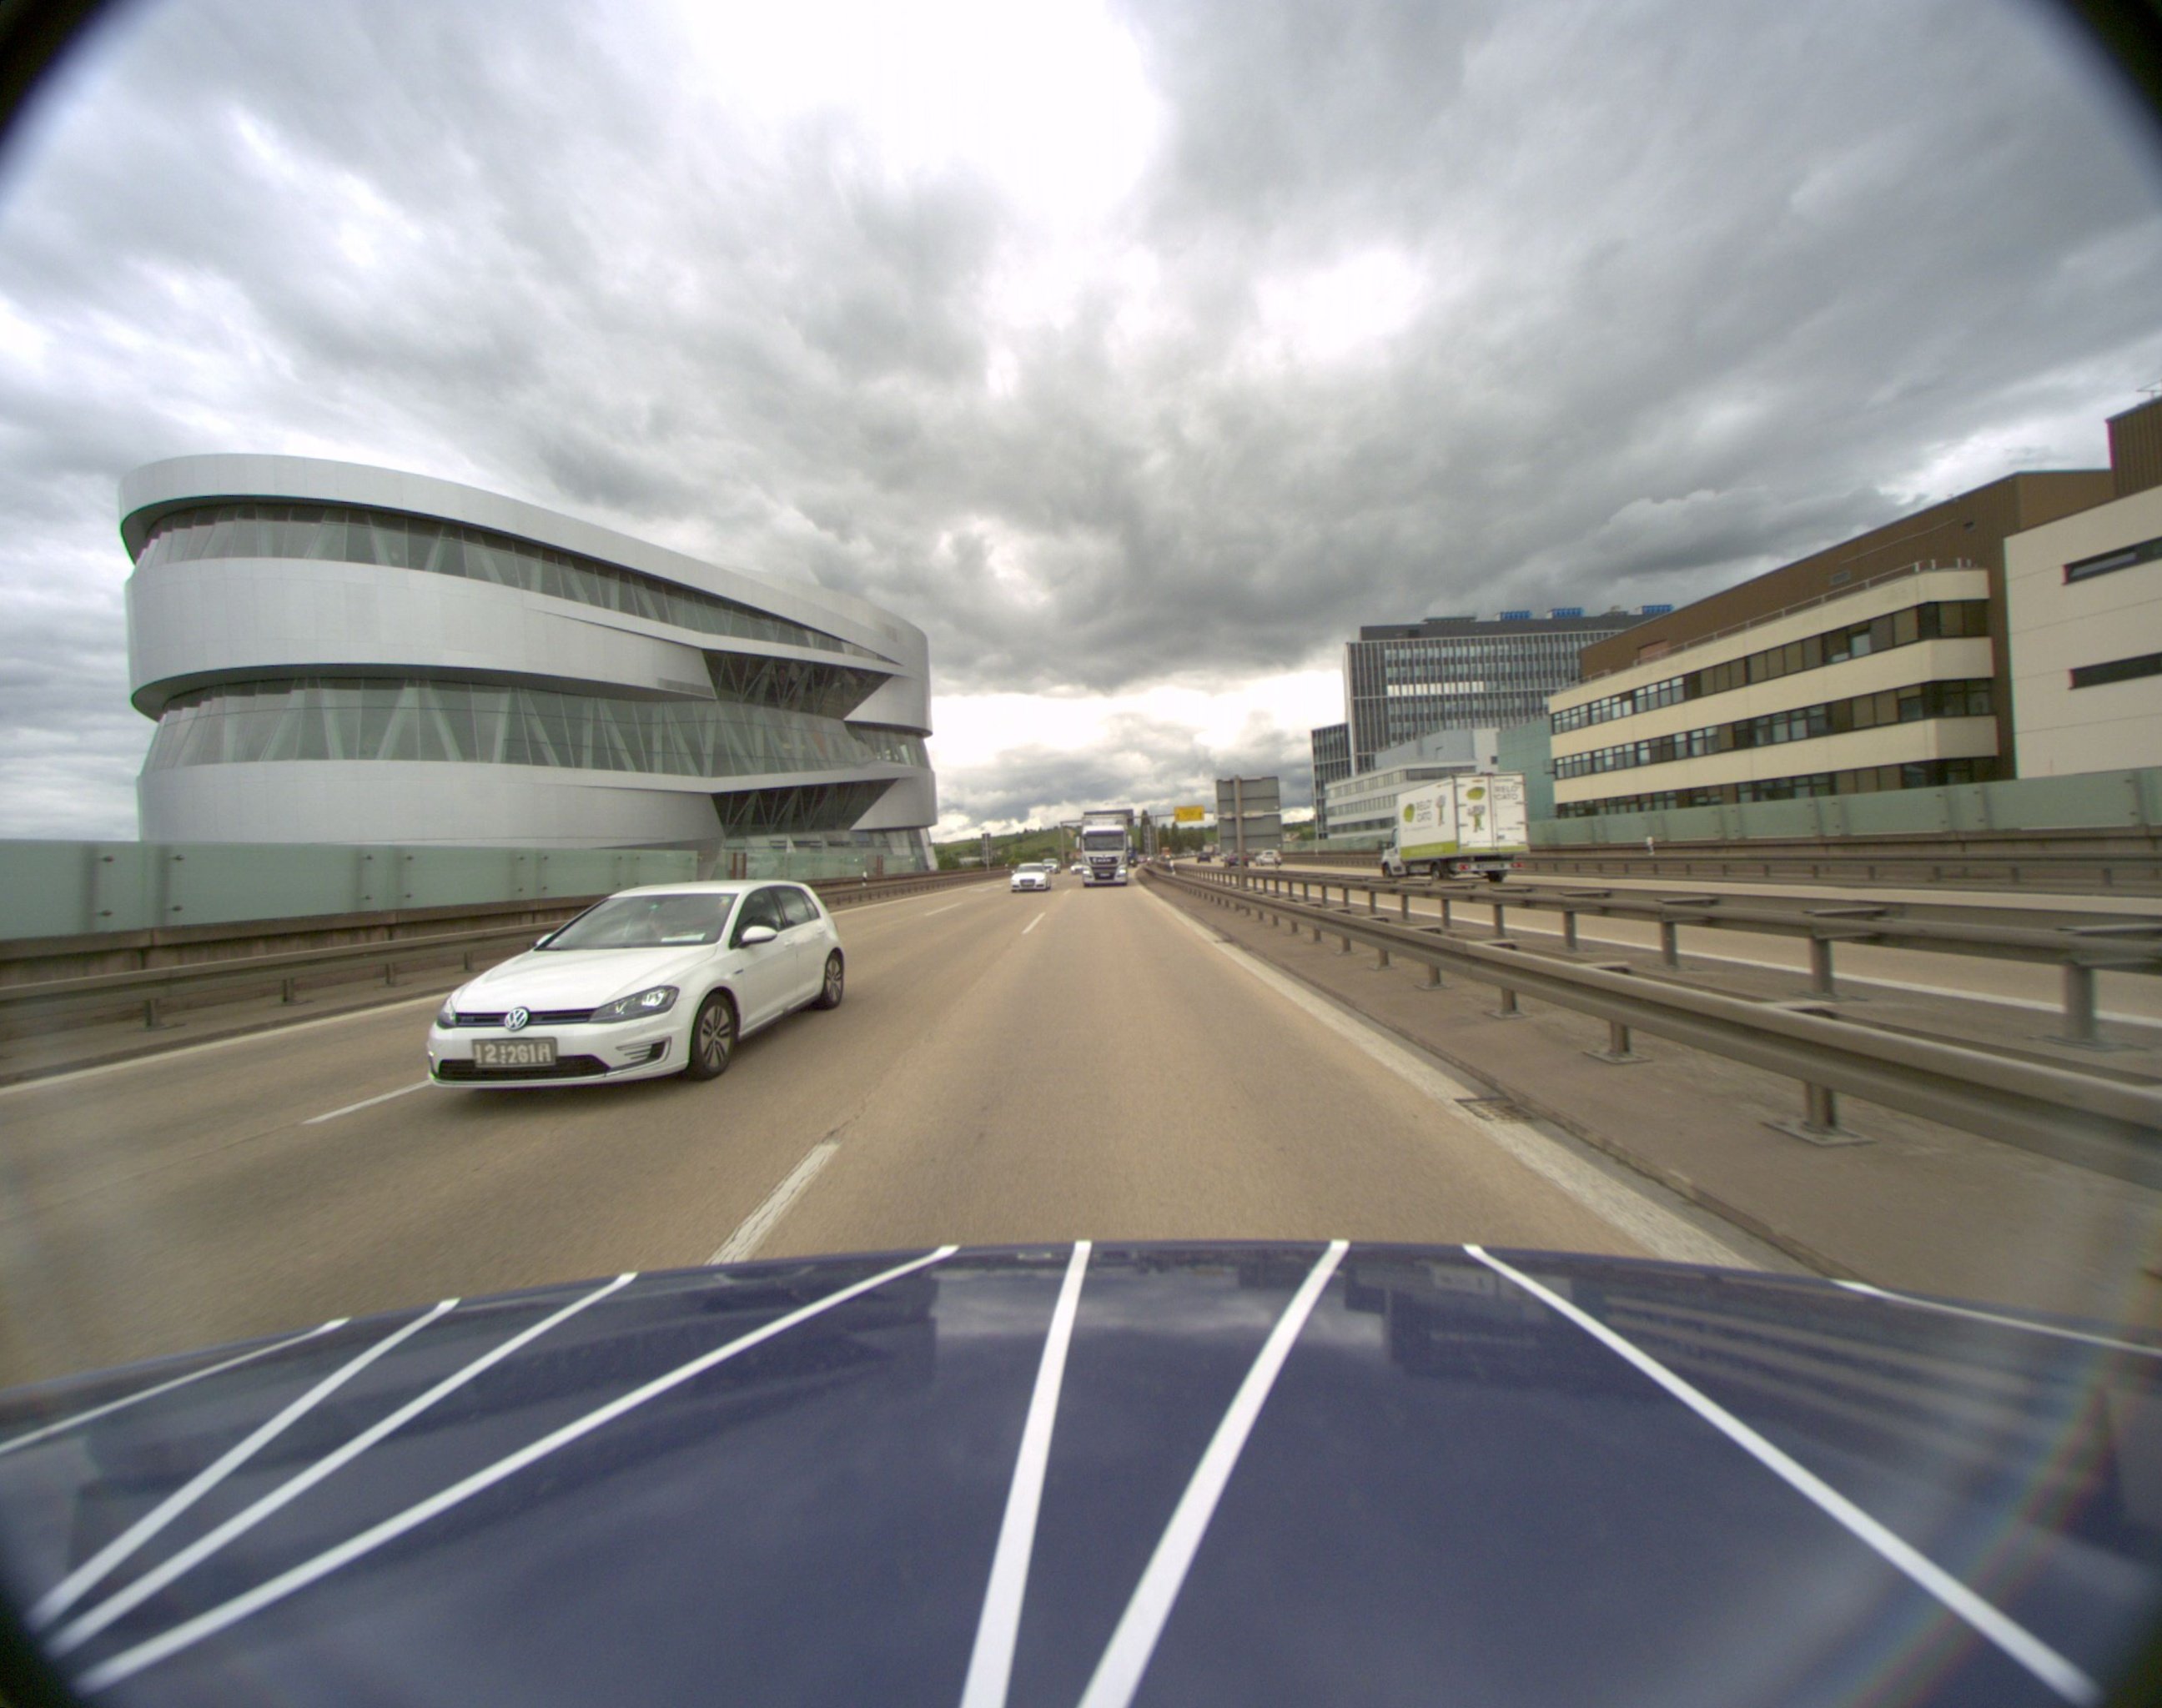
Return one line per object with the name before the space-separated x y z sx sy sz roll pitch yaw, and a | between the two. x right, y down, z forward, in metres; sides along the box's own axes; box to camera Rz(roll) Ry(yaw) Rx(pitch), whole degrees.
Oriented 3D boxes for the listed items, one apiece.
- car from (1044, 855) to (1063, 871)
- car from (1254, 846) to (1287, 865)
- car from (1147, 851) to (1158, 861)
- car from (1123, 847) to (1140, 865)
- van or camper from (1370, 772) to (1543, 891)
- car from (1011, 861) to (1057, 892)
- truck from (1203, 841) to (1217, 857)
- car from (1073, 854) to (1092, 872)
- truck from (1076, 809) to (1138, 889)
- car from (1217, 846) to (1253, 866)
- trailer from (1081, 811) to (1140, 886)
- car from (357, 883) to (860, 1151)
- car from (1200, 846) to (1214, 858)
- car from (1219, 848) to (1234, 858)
car | -2.940 0.929 82.442 1.785 1.624 3.627 -2 0 1
car | 17.483 0.148 70.395 1.922 1.602 4.814 -2 0 1
car | 15.363 0.344 163.411 1.998 2.002 4.000 -2 0 0
car | 7.079 0.260 106.494 2.144 2.494 4.524 -2 0 2
van or camper | 12.200 -0.670 25.477 2.410 3.368 6.954 -2 0 1
car | -2.385 1.118 39.290 1.848 1.443 3.933 -3 0 3
truck | 33.668 -1.367 197.863 3.268 3.836 13.061 -3 0 10
car | 0.200 0.901 77.510 1.765 1.624 3.627 -2 0 1
truck | 1.580 -0.272 43.198 2.945 4.136 6.293 -2 0 6
car | 13.328 0.206 65.939 2.027 1.602 4.813 -2 0 -1
trailer | 2.108 -0.332 48.435 2.879 4.104 11.224 -2 0 6
car | -3.492 1.081 6.690 1.759 1.443 4.072 -2 0 1
car | 18.150 -0.242 109.675 1.758 1.609 4.817 -2 0 8
car | 22.286 -0.151 116.653 1.687 1.587 3.686 -2 0 3
